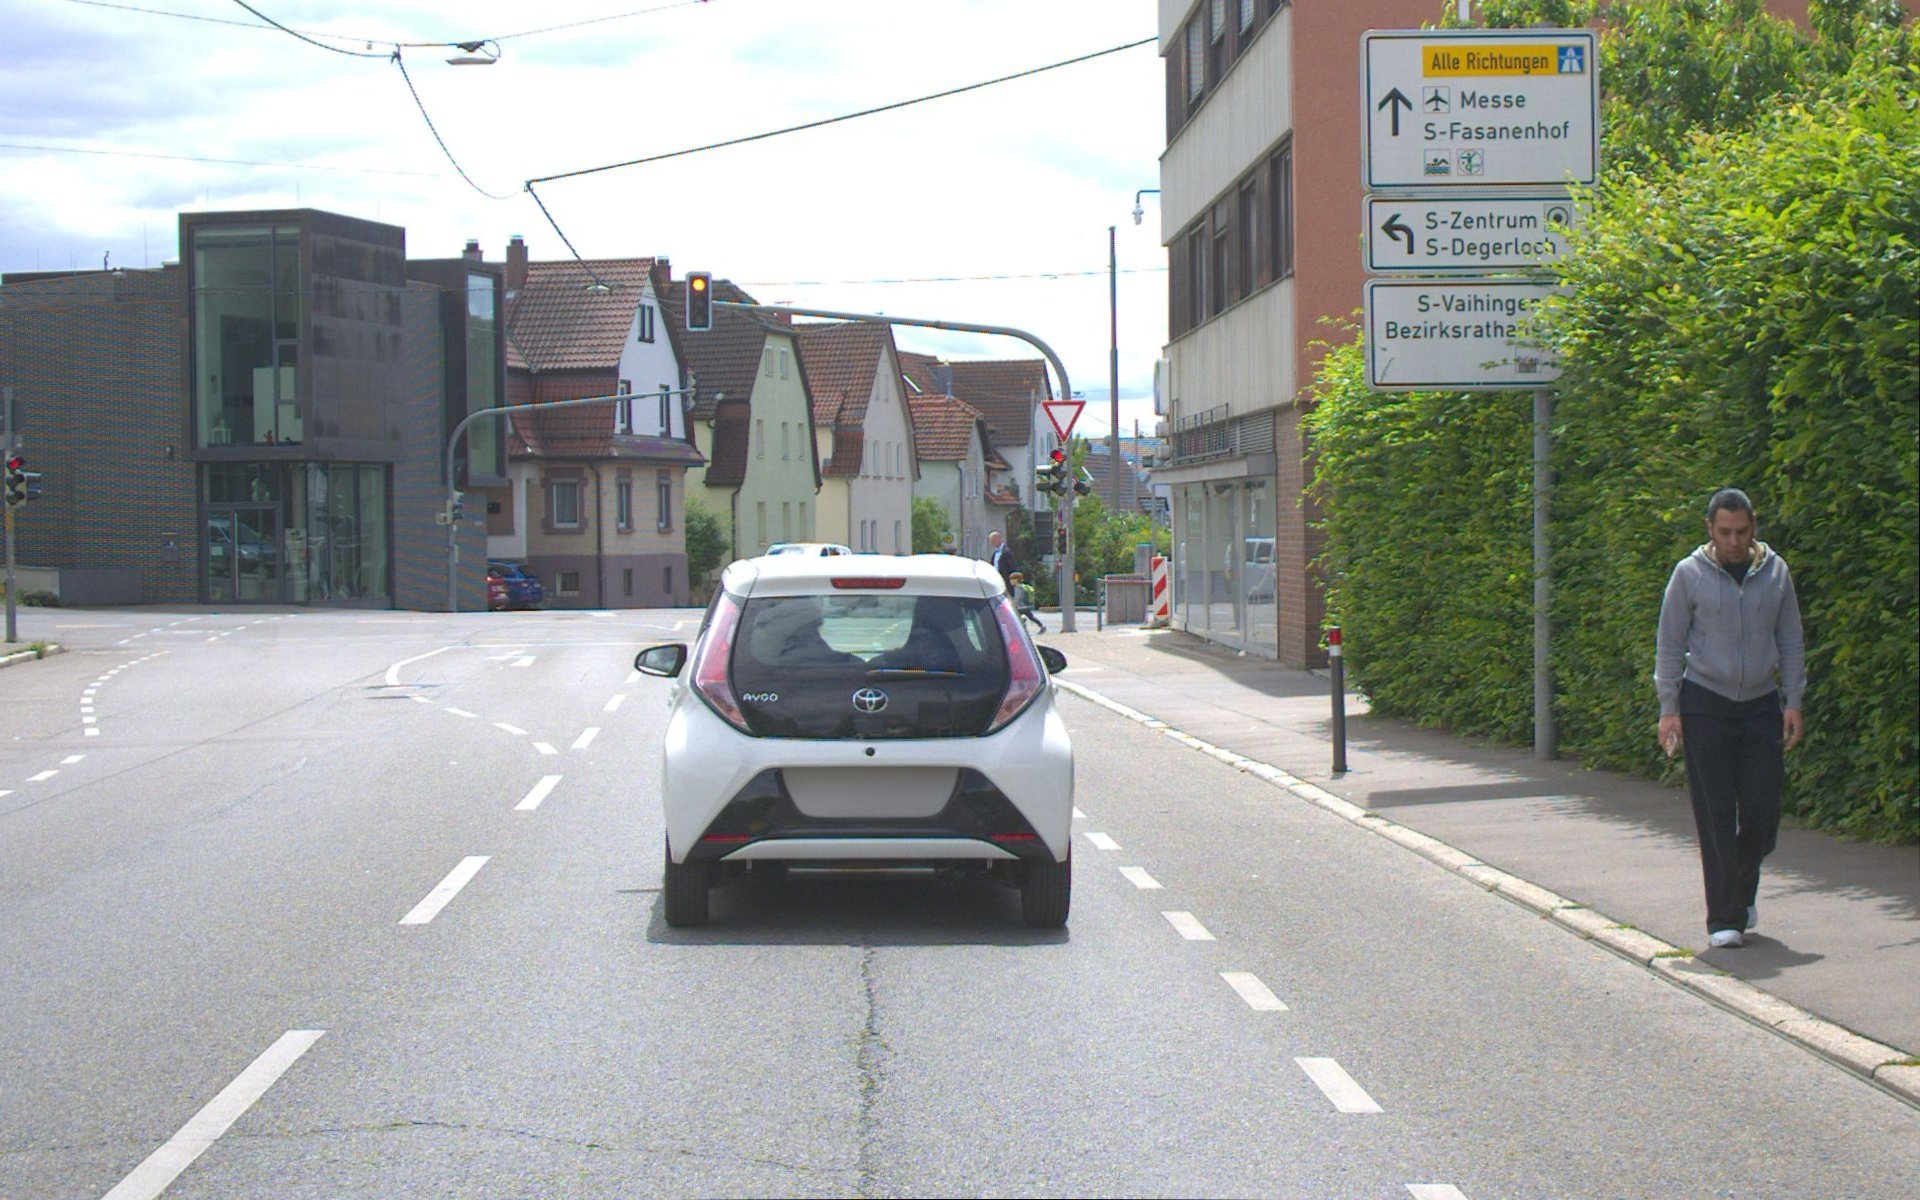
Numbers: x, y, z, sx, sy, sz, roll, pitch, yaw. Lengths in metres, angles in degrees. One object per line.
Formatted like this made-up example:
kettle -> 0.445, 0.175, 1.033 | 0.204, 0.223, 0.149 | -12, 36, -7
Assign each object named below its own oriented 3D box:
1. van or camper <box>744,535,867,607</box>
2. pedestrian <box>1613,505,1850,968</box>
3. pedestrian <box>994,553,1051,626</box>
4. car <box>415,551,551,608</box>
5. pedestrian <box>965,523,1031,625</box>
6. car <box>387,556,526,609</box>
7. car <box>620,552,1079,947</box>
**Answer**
van or camper -> -4.314, -0.806, 96.736 | 2.117, 1.919, 5.282 | 2, 1, 13
pedestrian -> 2.784, 0.471, 12.466 | 0.602, 1.600, 0.836 | -2, 1, -1
pedestrian -> 1.056, -0.177, 57.963 | 0.733, 1.217, 0.646 | 0, 1, -31
car -> -14.075, -0.609, 101.570 | 3.616, 1.600, 1.691 | 1, 1, 9
pedestrian -> 0.643, -0.450, 58.565 | 0.822, 1.715, 0.817 | 0, 1, -31
car -> -14.562, -0.505, 99.430 | 3.616, 1.414, 1.691 | 1, 1, 9
car -> -0.452, 0.544, 14.587 | 1.697, 1.451, 3.299 | 1, 1, -1
